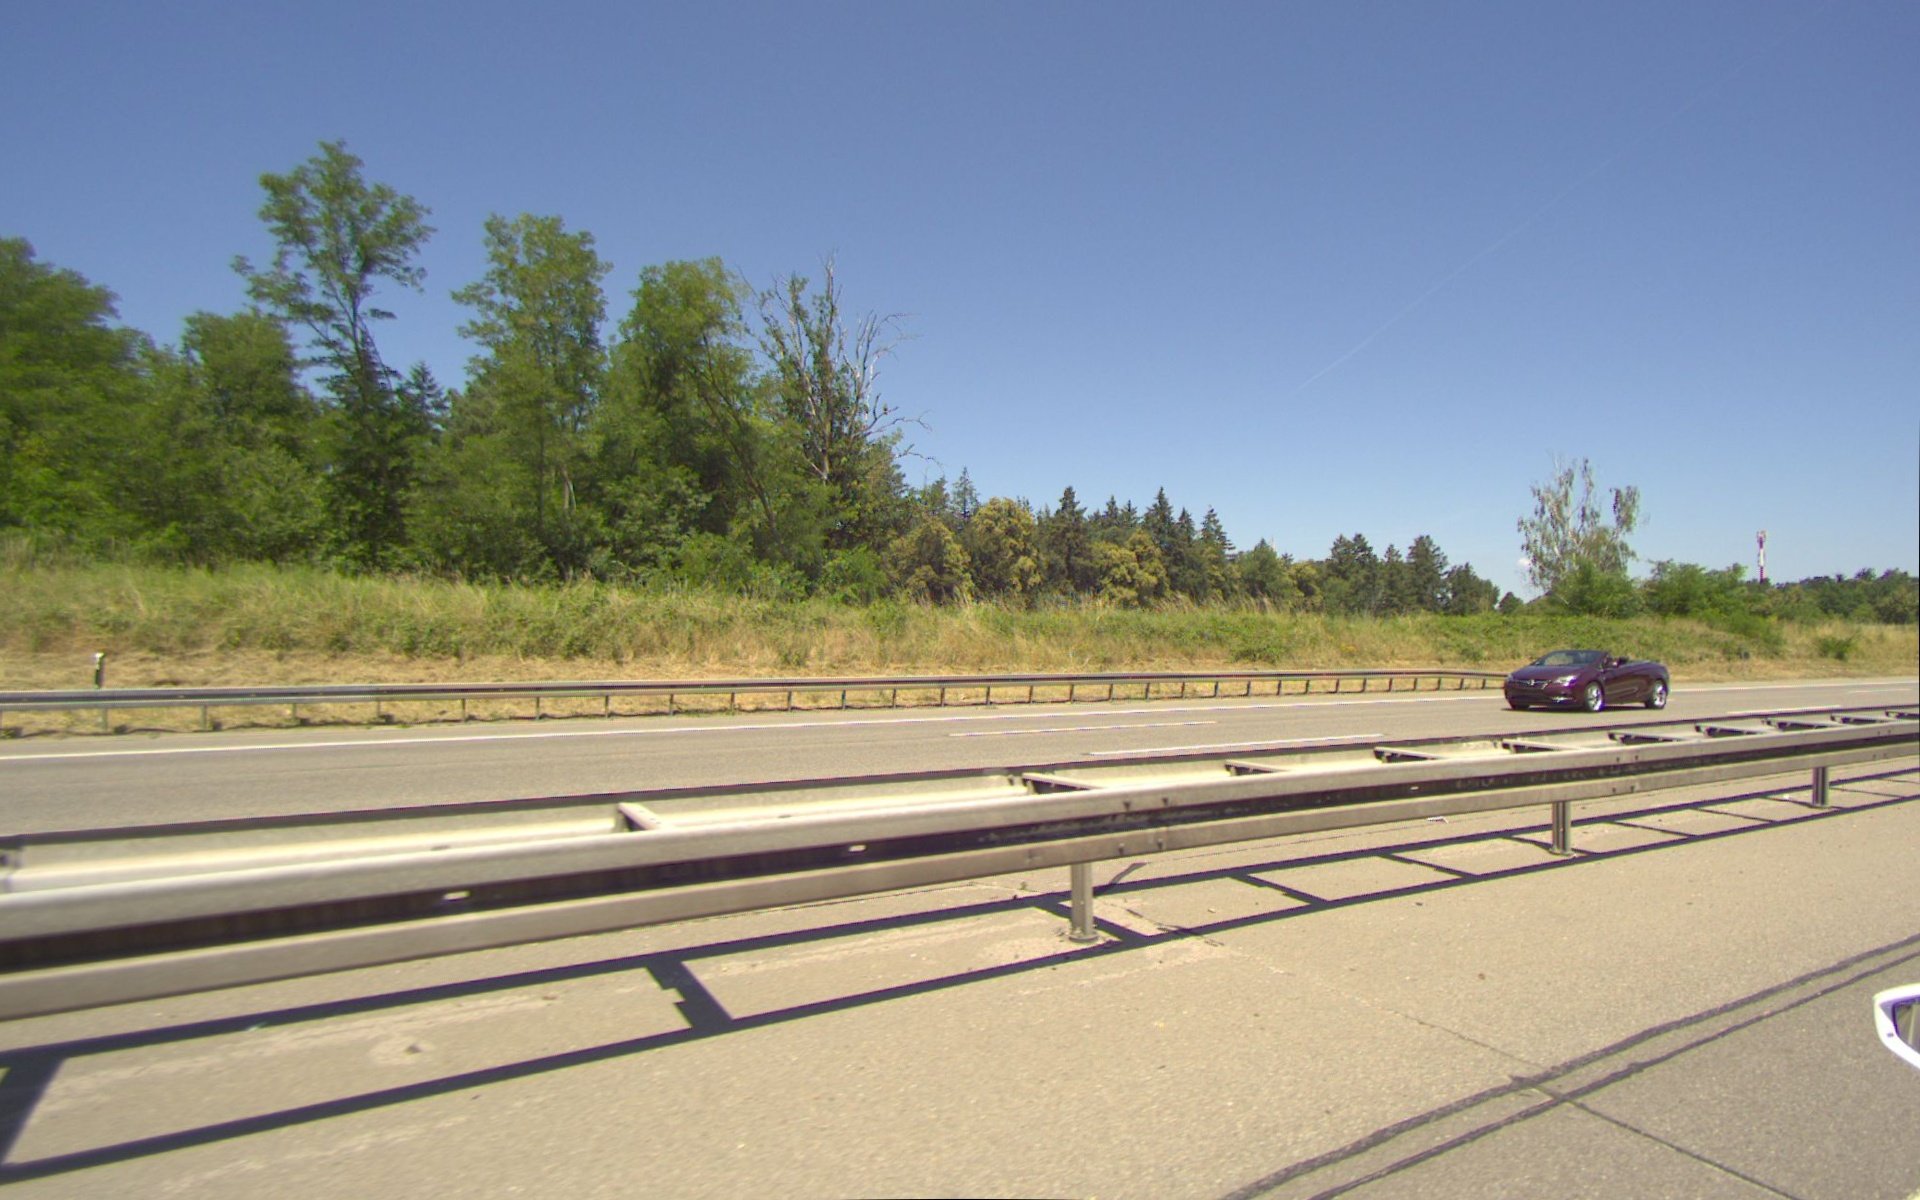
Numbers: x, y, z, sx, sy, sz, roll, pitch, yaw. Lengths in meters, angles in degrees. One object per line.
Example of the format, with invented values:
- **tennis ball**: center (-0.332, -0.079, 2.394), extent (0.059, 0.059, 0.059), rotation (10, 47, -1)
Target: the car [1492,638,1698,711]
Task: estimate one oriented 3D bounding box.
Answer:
- **car**: center (14.926, 1.690, 23.535), extent (5.229, 1.545, 1.952), rotation (2, -3, -31)
